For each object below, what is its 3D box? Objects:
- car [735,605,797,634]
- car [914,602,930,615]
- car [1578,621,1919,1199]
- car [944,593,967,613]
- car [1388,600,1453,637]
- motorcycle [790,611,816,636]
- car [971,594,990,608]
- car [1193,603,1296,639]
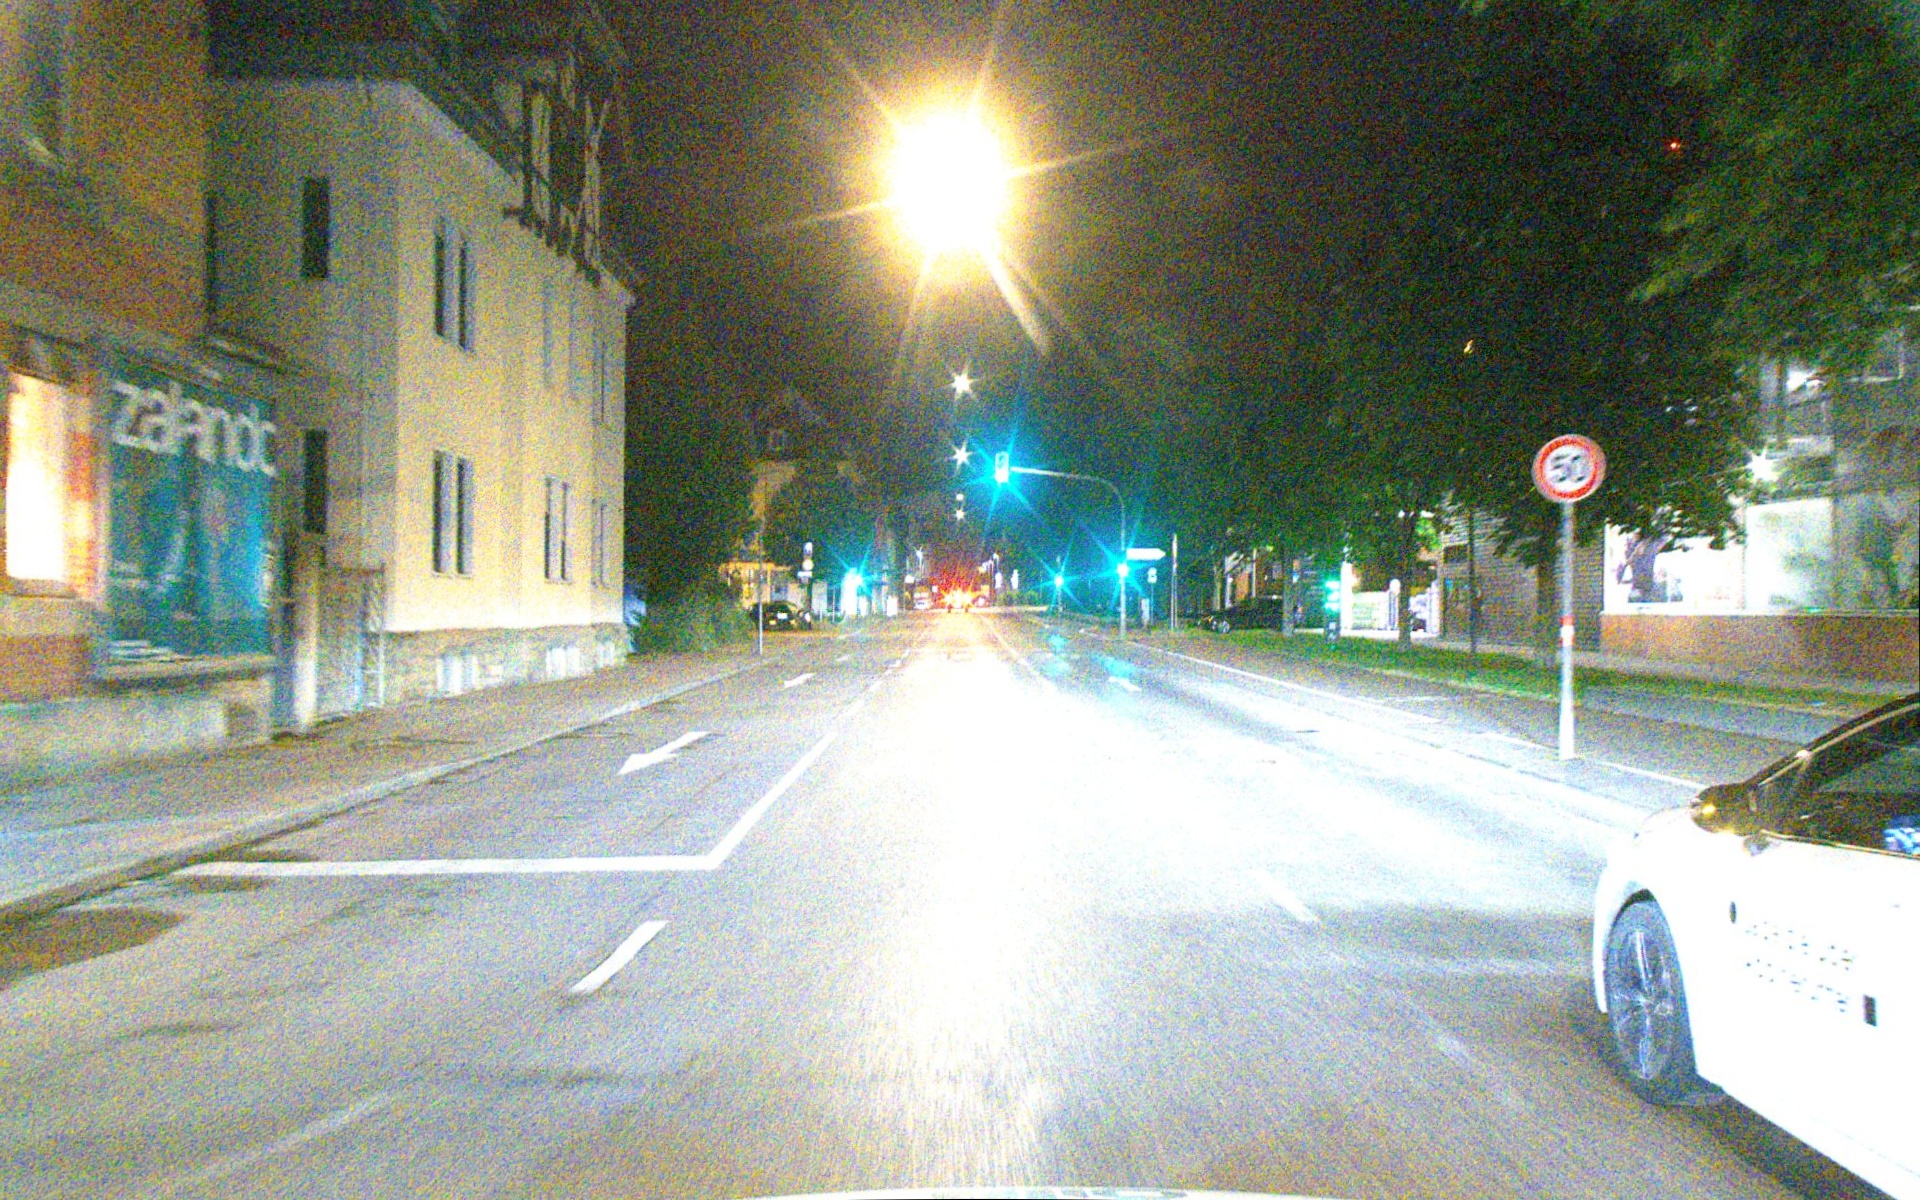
[{"bbox_3d":[-10.334,1.028,87.976,1.786,1.512,3.957,0,0,-32],"label":"car"},{"bbox_3d":[-4.113,0.885,179.306,1.742,1.414,3.998,0,0,-2],"label":"car"},{"bbox_3d":[3.010,0.814,3.686,1.694,1.460,4.210,2,-1,1],"label":"car"},{"bbox_3d":[-0.426,0.297,146.480,1.953,1.669,3.998,1,-1,-2],"label":"car"},{"bbox_3d":[19.005,0.751,68.381,1.541,1.513,3.830,0,0,-1],"label":"car"},{"bbox_3d":[-8.103,1.205,85.331,0.769,1.225,2.436,0,0,-19],"label":"motorcycle"},{"bbox_3d":[2.423,0.129,193.834,1.954,1.624,3.998,0,0,-3],"label":"car"},{"bbox_3d":[11.446,0.836,66.641,3.904,1.411,1.772,0,0,2],"label":"car"}]
